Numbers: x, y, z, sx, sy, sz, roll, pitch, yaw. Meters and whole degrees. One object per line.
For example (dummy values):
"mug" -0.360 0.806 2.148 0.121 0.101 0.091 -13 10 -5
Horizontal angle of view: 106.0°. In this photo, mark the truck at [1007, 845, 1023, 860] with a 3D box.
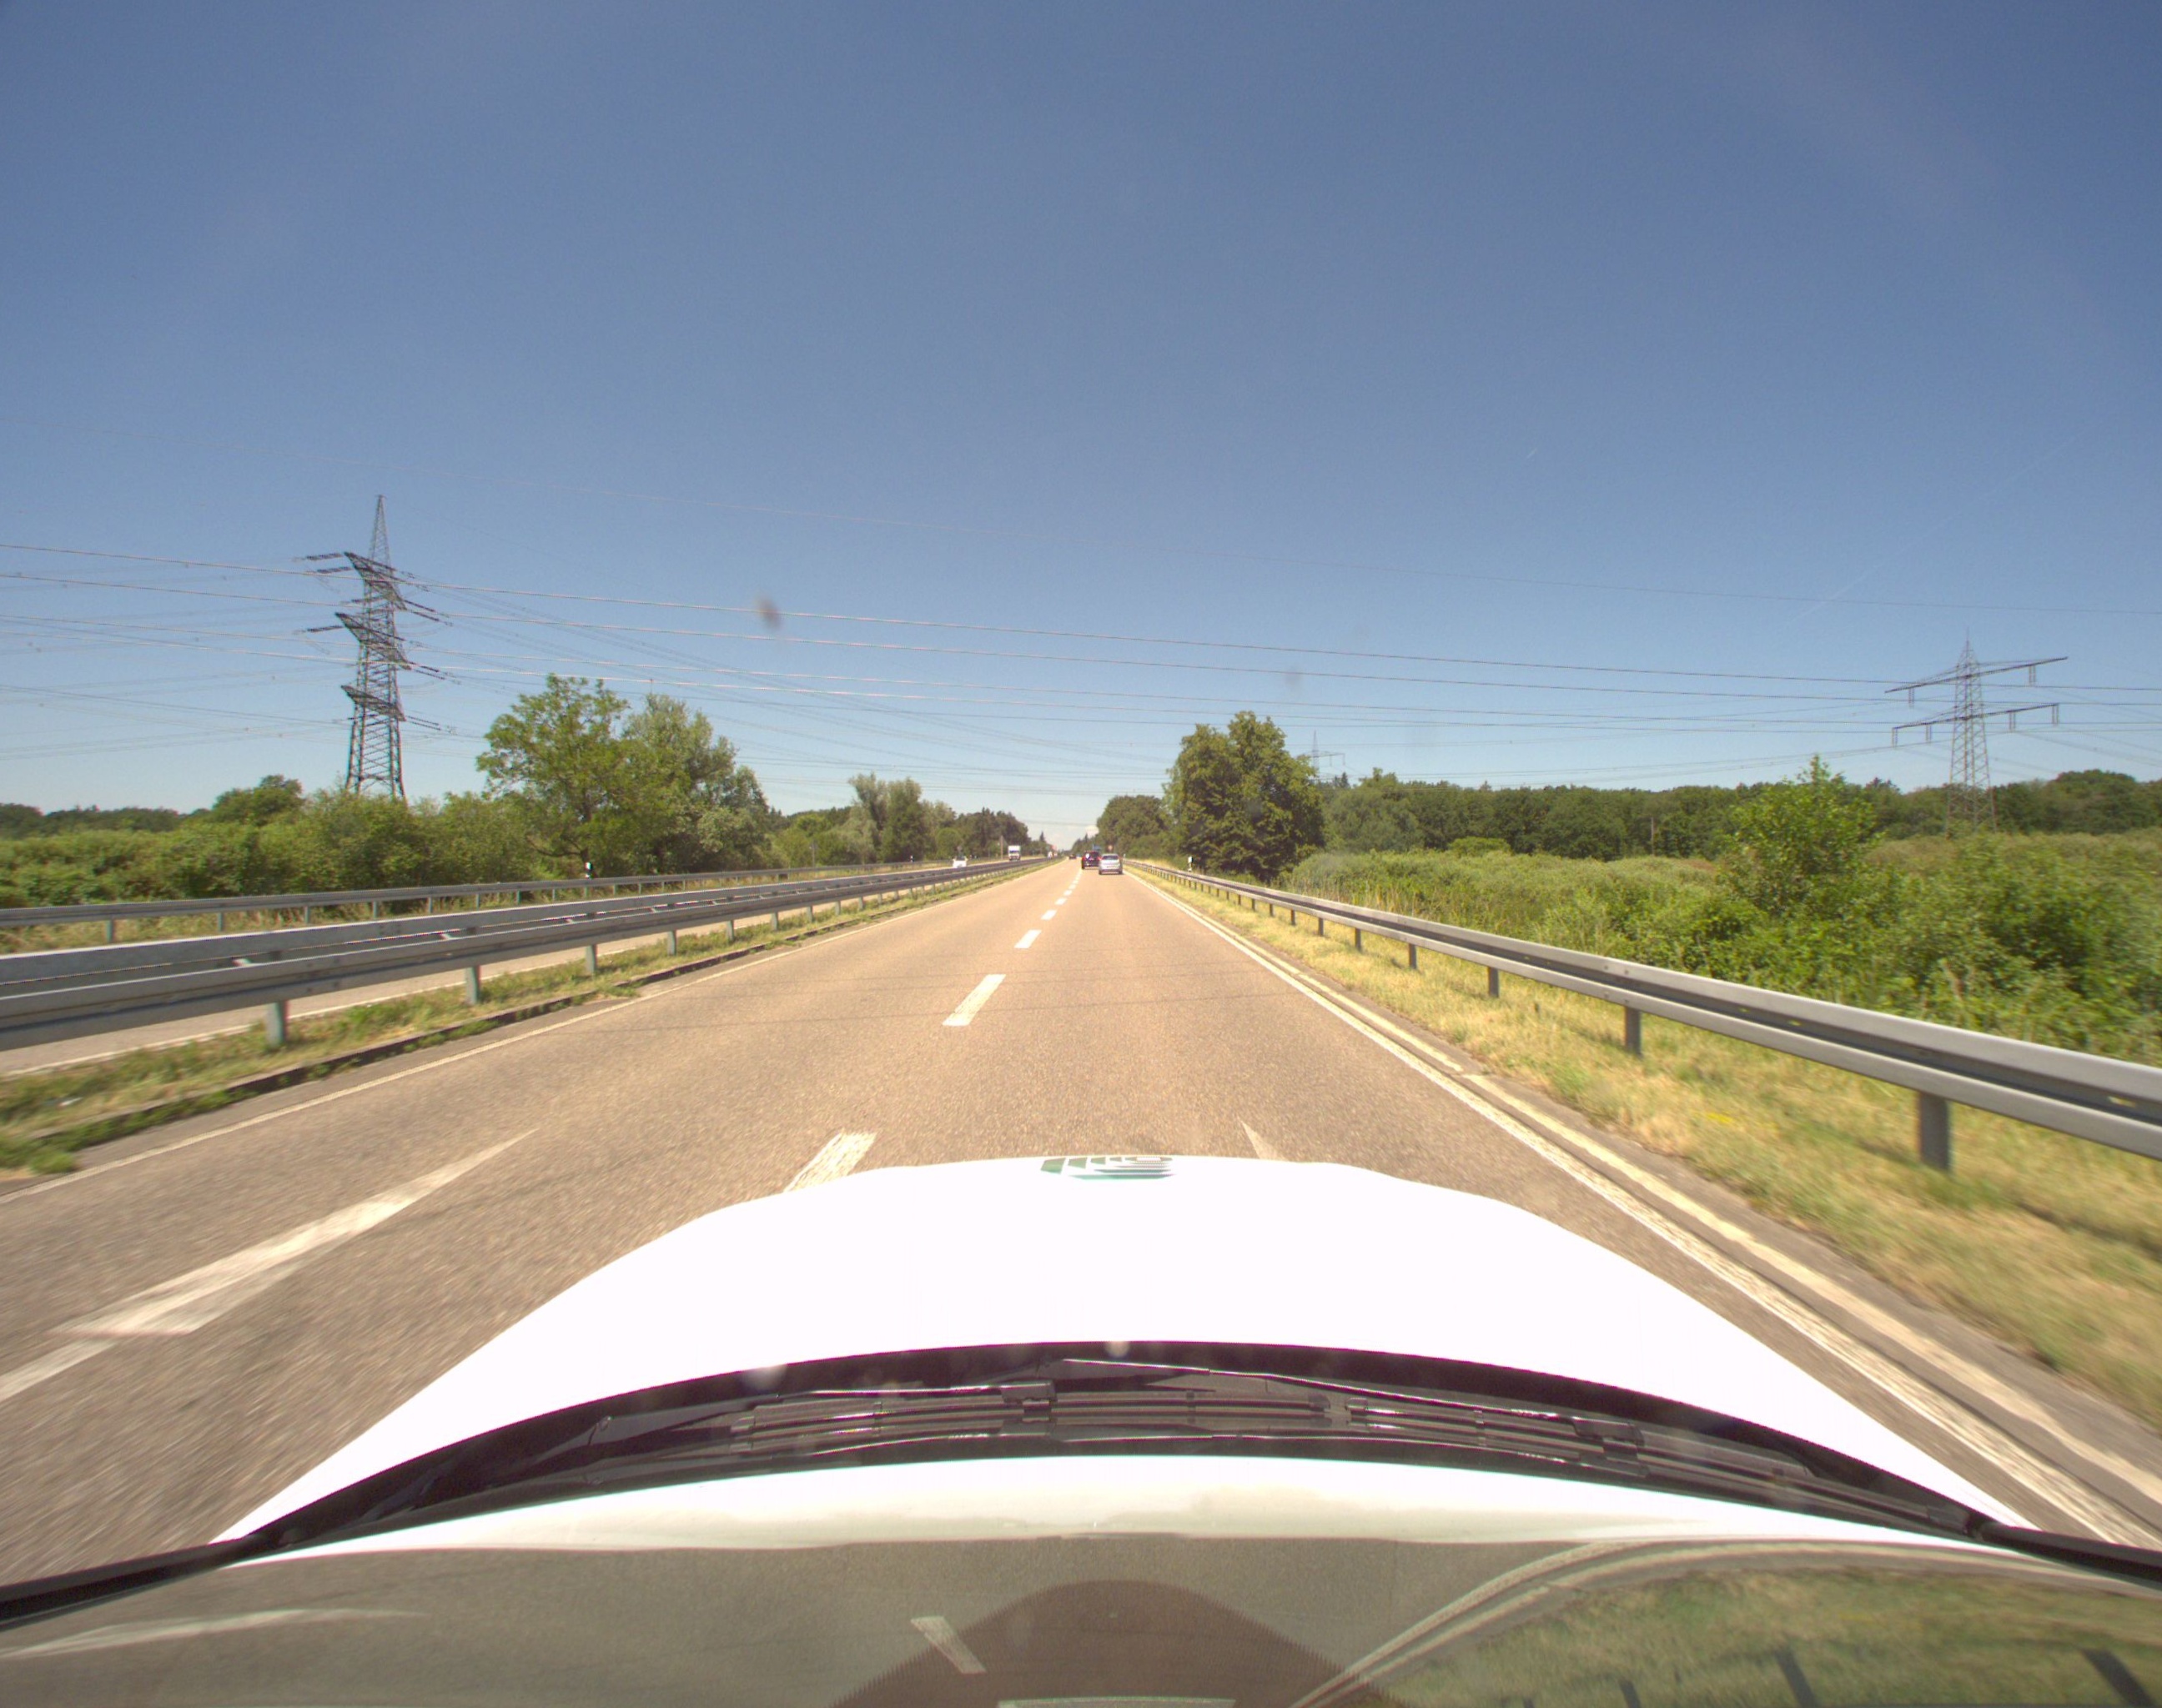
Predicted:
"truck" -14.958 -0.329 184.673 2.709 3.193 8.404 -1 0 0

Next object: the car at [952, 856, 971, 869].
"car" -13.878 0.997 94.811 1.527 1.449 3.702 -1 0 1

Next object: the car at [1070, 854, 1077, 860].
"car" -1.867 0.757 195.450 1.707 1.471 3.572 2 0 -1

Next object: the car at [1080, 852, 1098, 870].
"car" 0.735 0.637 77.612 1.635 1.654 3.573 2 0 0

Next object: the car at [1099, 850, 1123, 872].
"car" 2.123 0.506 58.385 1.635 1.468 3.419 2 0 1
